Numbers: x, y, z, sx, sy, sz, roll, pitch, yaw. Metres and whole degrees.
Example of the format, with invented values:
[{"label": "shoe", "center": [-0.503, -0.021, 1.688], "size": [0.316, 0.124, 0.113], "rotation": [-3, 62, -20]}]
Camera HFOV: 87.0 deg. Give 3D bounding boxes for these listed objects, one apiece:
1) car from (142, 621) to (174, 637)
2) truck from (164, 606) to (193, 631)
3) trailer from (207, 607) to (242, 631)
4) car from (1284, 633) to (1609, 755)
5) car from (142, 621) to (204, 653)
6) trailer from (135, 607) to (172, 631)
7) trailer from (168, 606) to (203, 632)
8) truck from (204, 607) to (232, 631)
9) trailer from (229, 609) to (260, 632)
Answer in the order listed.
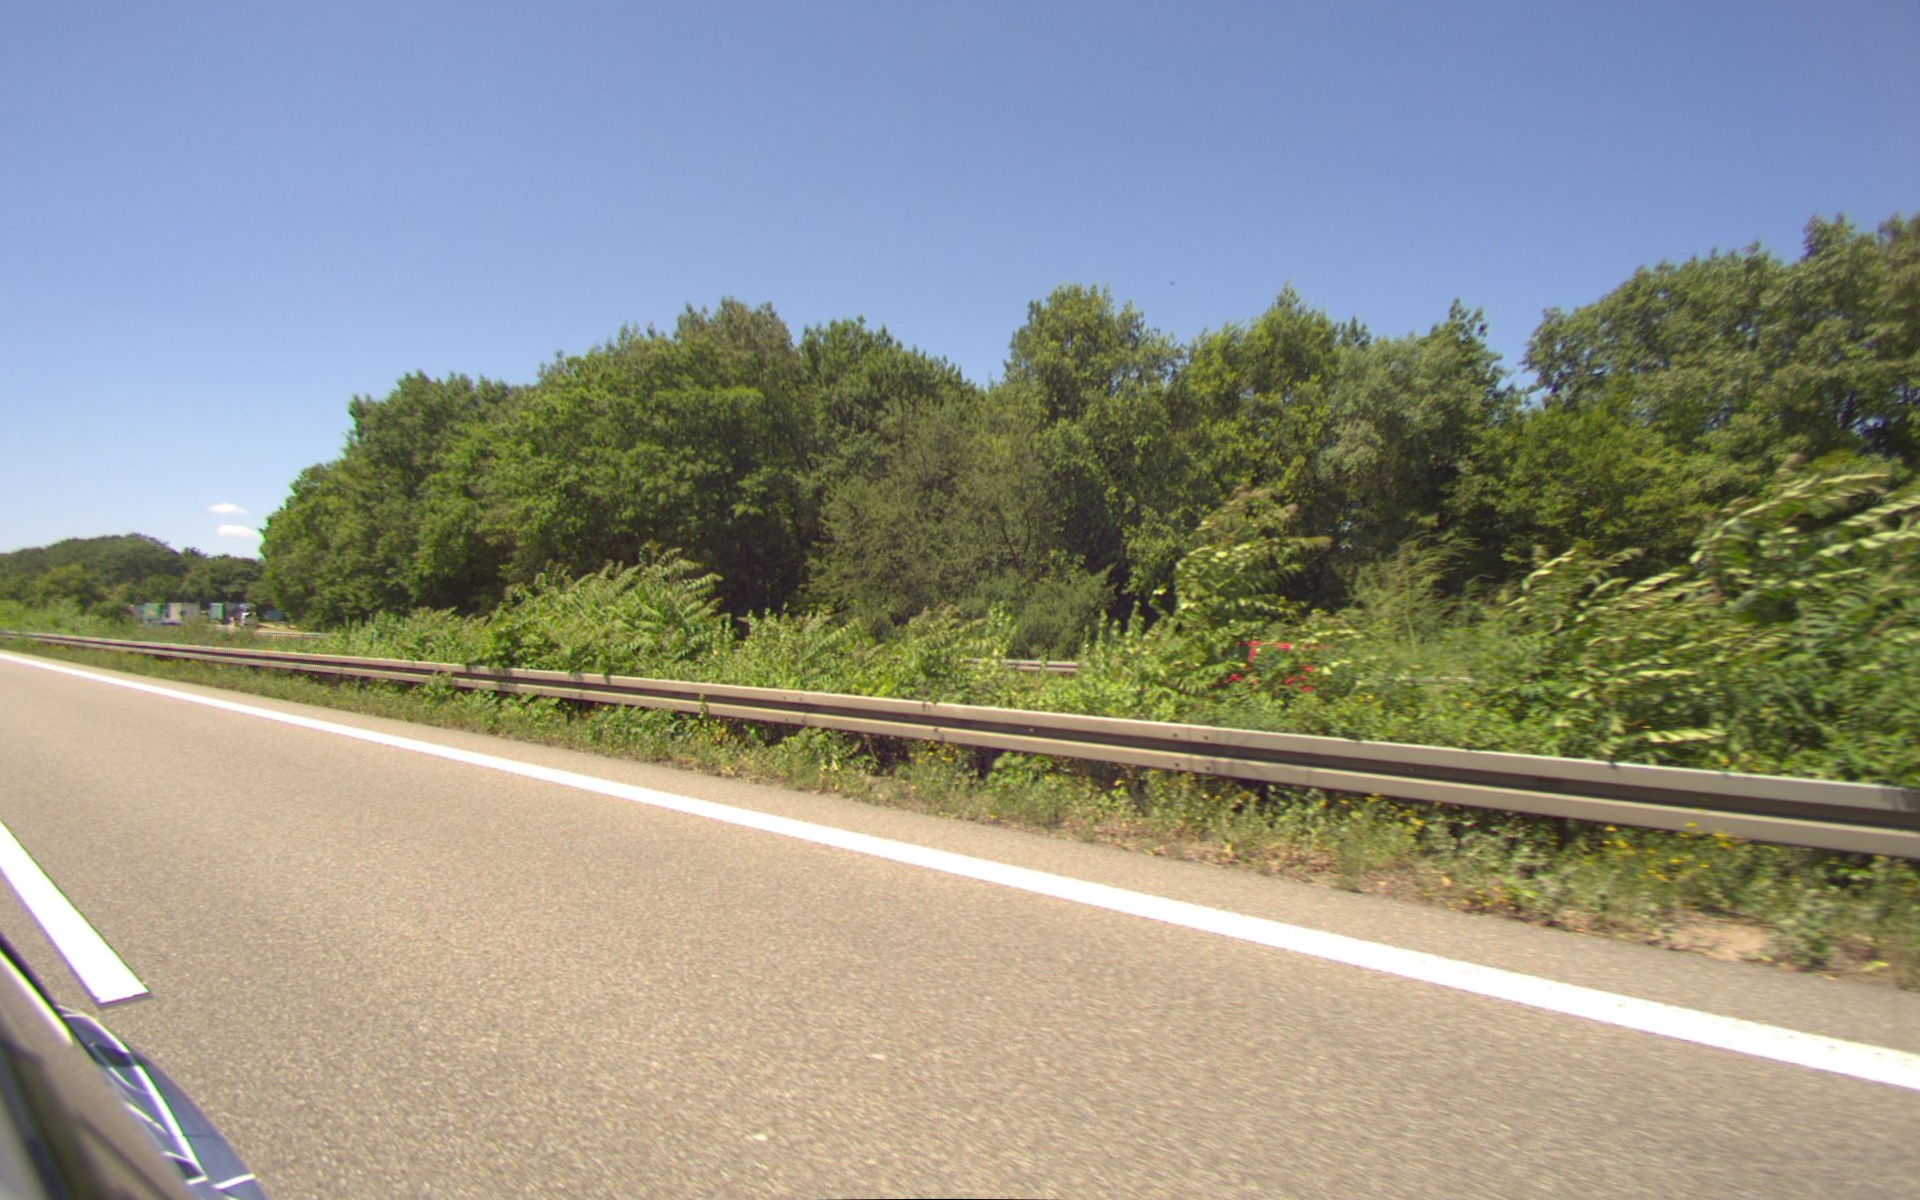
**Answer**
[{"label": "car", "center": [-86.744, 3.154, 109.497], "size": [3.997, 1.606, 1.951], "rotation": [-1, 1, 40]}, {"label": "truck", "center": [-138.016, 3.258, 178.687], "size": [3.178, 4.167, 7.397], "rotation": [-1, 0, -44]}, {"label": "trailer", "center": [-143.049, 3.729, 196.783], "size": [3.559, 4.627, 14.033], "rotation": [2, -2, -44]}, {"label": "car", "center": [6.694, 1.197, 14.139], "size": [3.799, 1.436, 1.697], "rotation": [-1, -2, 41]}, {"label": "car", "center": [-39.657, 1.836, 50.961], "size": [3.998, 1.575, 1.697], "rotation": [-1, -2, 41]}, {"label": "trailer", "center": [-162.204, 3.921, 203.455], "size": [14.018, 4.627, 3.563], "rotation": [-1, -2, 42]}, {"label": "trailer", "center": [-132.526, 3.177, 173.037], "size": [3.178, 4.167, 14.061], "rotation": [-1, 0, -44]}, {"label": "truck", "center": [-148.088, 3.857, 202.075], "size": [3.559, 4.627, 6.602], "rotation": [2, -2, -44]}, {"label": "trailer", "center": [-119.063, 3.458, 168.293], "size": [3.554, 3.684, 14.052], "rotation": [1, -2, -38]}]
